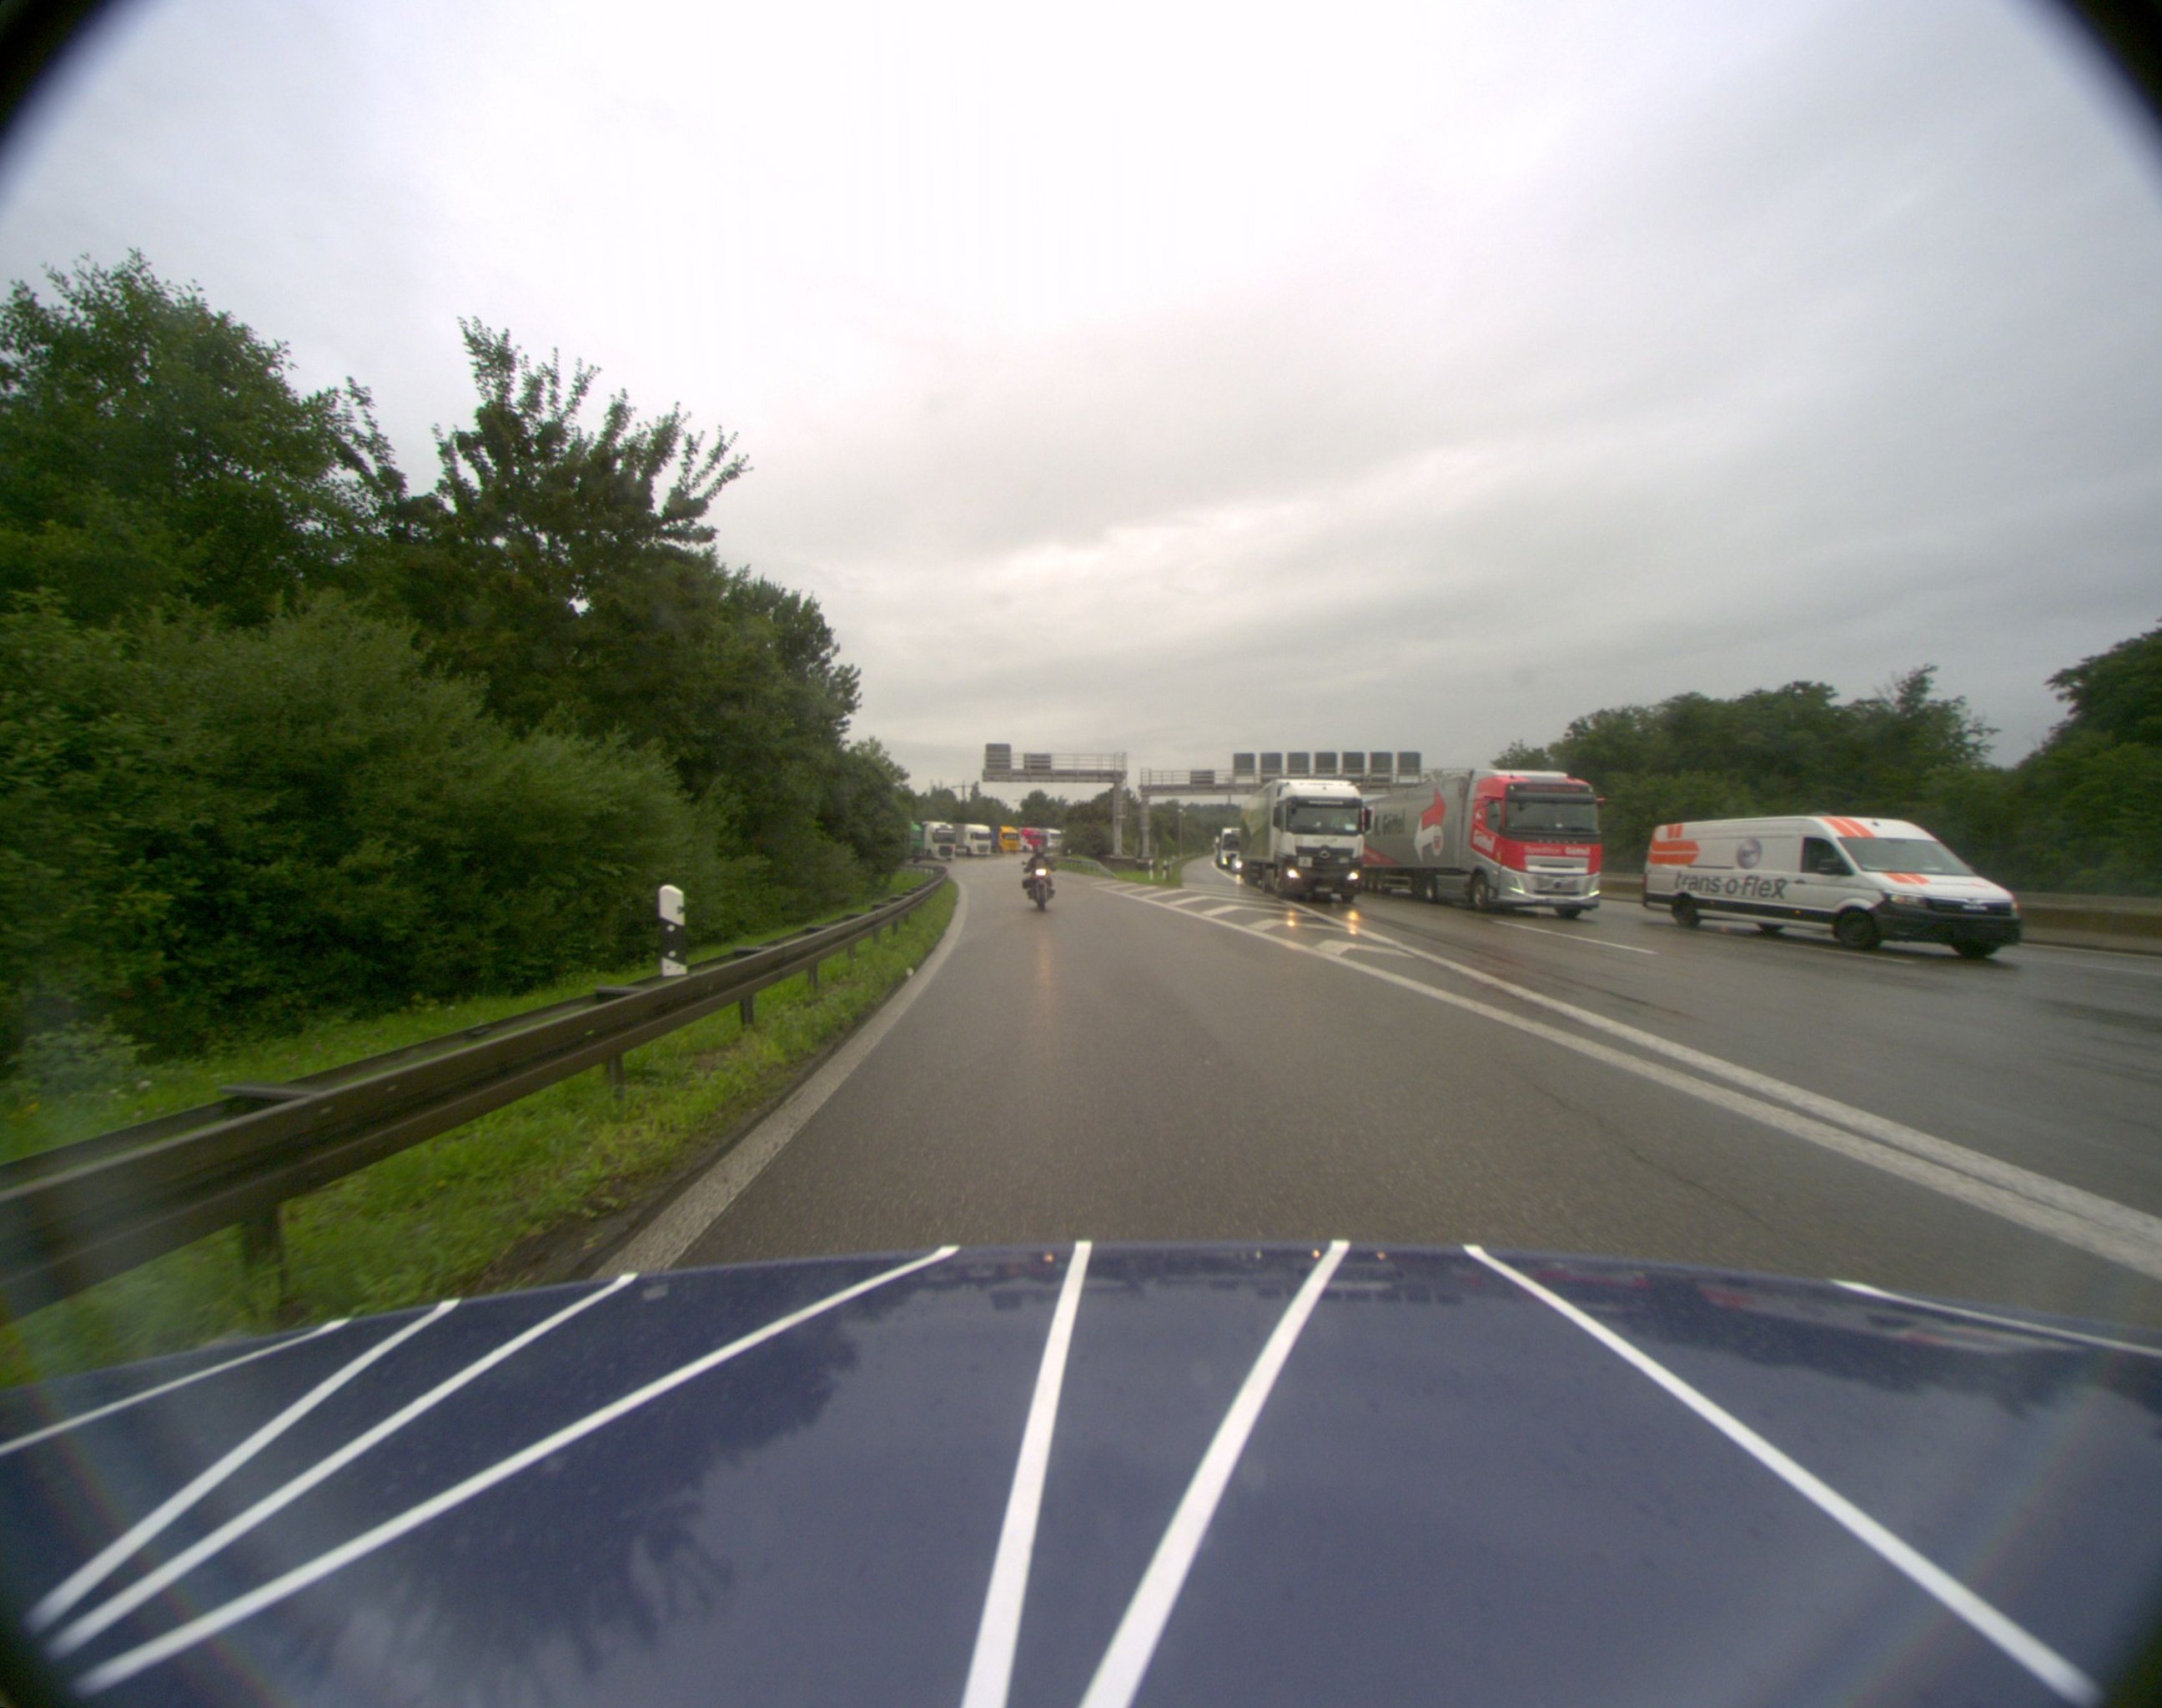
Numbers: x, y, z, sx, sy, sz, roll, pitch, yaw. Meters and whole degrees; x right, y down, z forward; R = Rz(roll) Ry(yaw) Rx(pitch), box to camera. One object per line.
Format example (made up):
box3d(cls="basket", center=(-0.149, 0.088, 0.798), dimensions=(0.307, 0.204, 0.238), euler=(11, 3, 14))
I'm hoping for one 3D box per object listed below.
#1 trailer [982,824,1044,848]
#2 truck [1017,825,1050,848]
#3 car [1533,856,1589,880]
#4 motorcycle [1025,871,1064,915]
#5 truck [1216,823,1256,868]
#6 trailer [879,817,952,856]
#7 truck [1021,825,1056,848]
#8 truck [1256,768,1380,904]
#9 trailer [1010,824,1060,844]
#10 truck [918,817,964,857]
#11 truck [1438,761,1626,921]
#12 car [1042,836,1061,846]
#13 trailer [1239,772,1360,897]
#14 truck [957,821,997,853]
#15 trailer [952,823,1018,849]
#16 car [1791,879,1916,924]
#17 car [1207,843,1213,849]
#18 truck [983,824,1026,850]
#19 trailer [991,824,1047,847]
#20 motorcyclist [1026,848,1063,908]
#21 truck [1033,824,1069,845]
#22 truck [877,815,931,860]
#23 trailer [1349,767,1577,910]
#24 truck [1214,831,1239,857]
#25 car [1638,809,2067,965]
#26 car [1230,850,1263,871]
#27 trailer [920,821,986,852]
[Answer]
box3d(cls="trailer", center=(-12.331, -3.275, 134.951), dimensions=(3.252, 3.897, 14.786), euler=(0, 2, -39))
box3d(cls="truck", center=(-8.118, -2.989, 129.708), dimensions=(3.252, 3.897, 5.006), euler=(0, 2, -39))
box3d(cls="car", center=(36.842, 1.061, 58.432), dimensions=(1.997, 1.686, 4.268), euler=(2, 1, 8))
box3d(cls="motorcycle", center=(-1.027, 1.039, 20.792), dimensions=(0.878, 1.016, 2.351), euler=(1, 1, -7))
box3d(cls="truck", center=(15.612, -0.994, 77.364), dimensions=(3.353, 4.048, 12.577), euler=(-2, 2, 9))
box3d(cls="trailer", center=(-19.501, -2.181, 88.370), dimensions=(2.832, 4.148, 13.953), euler=(-1, 3, -36))
box3d(cls="truck", center=(-7.569, -3.174, 134.624), dimensions=(2.905, 3.897, 6.536), euler=(0, 2, -39))
box3d(cls="truck", center=(7.903, -0.609, 26.305), dimensions=(2.924, 4.076, 6.722), euler=(1, 1, 8))
box3d(cls="trailer", center=(-10.036, -4.281, 163.456), dimensions=(3.252, 4.068, 13.492), euler=(0, 2, -39))
box3d(cls="truck", center=(-15.264, -1.872, 82.512), dimensions=(2.832, 4.123, 5.287), euler=(-1, 3, -36))
box3d(cls="truck", center=(12.049, -0.354, 20.813), dimensions=(2.632, 3.842, 4.590), euler=(2, 1, 6))
box3d(cls="car", center=(-5.925, -2.608, 152.880), dimensions=(1.852, 1.848, 3.988), euler=(-1, 2, -36))
box3d(cls="trailer", center=(8.812, -0.795, 32.546), dimensions=(2.924, 4.181, 13.642), euler=(1, 1, 8))
box3d(cls="truck", center=(-13.438, -2.202, 97.819), dimensions=(2.836, 3.891, 5.395), euler=(0, 2, -37))
box3d(cls="trailer", center=(-15.621, -2.992, 121.684), dimensions=(2.874, 3.897, 16.585), euler=(0, 2, -35))
box3d(cls="car", center=(36.106, 2.164, 35.704), dimensions=(1.997, 1.804, 4.107), euler=(0, 0, 7))
box3d(cls="car", center=(37.358, -2.378, 220.179), dimensions=(1.817, 1.747, 4.689), euler=(1, 1, 9))
box3d(cls="truck", center=(-11.786, -2.639, 116.241), dimensions=(2.846, 3.897, 8.107), euler=(0, 2, -35))
box3d(cls="trailer", center=(-11.581, -3.470, 139.608), dimensions=(2.882, 3.897, 13.893), euler=(0, 2, -39))
box3d(cls="motorcyclist", center=(-1.006, 0.628, 20.688), dimensions=(0.878, 1.559, 1.372), euler=(1, 1, -7))
box3d(cls="truck", center=(-6.273, -4.074, 158.764), dimensions=(3.252, 4.068, 7.914), euler=(0, 2, -39))
box3d(cls="truck", center=(-17.088, -1.609, 73.077), dimensions=(2.832, 4.127, 5.979), euler=(-1, 3, -37))
box3d(cls="trailer", center=(12.792, -0.478, 27.503), dimensions=(2.632, 3.842, 13.681), euler=(2, 1, 6))
box3d(cls="truck", center=(23.906, -1.728, 125.243), dimensions=(3.534, 3.826, 9.438), euler=(-2, 2, 8))
box3d(cls="car", center=(15.169, 0.488, 15.994), dimensions=(2.152, 2.474, 7.368), euler=(1, 1, 7))
box3d(cls="car", center=(12.591, 0.463, 58.040), dimensions=(1.931, 1.514, 4.764), euler=(1, 1, 7))
box3d(cls="trailer", center=(-17.620, -2.526, 103.491), dimensions=(2.850, 3.897, 13.913), euler=(0, 2, -36))
